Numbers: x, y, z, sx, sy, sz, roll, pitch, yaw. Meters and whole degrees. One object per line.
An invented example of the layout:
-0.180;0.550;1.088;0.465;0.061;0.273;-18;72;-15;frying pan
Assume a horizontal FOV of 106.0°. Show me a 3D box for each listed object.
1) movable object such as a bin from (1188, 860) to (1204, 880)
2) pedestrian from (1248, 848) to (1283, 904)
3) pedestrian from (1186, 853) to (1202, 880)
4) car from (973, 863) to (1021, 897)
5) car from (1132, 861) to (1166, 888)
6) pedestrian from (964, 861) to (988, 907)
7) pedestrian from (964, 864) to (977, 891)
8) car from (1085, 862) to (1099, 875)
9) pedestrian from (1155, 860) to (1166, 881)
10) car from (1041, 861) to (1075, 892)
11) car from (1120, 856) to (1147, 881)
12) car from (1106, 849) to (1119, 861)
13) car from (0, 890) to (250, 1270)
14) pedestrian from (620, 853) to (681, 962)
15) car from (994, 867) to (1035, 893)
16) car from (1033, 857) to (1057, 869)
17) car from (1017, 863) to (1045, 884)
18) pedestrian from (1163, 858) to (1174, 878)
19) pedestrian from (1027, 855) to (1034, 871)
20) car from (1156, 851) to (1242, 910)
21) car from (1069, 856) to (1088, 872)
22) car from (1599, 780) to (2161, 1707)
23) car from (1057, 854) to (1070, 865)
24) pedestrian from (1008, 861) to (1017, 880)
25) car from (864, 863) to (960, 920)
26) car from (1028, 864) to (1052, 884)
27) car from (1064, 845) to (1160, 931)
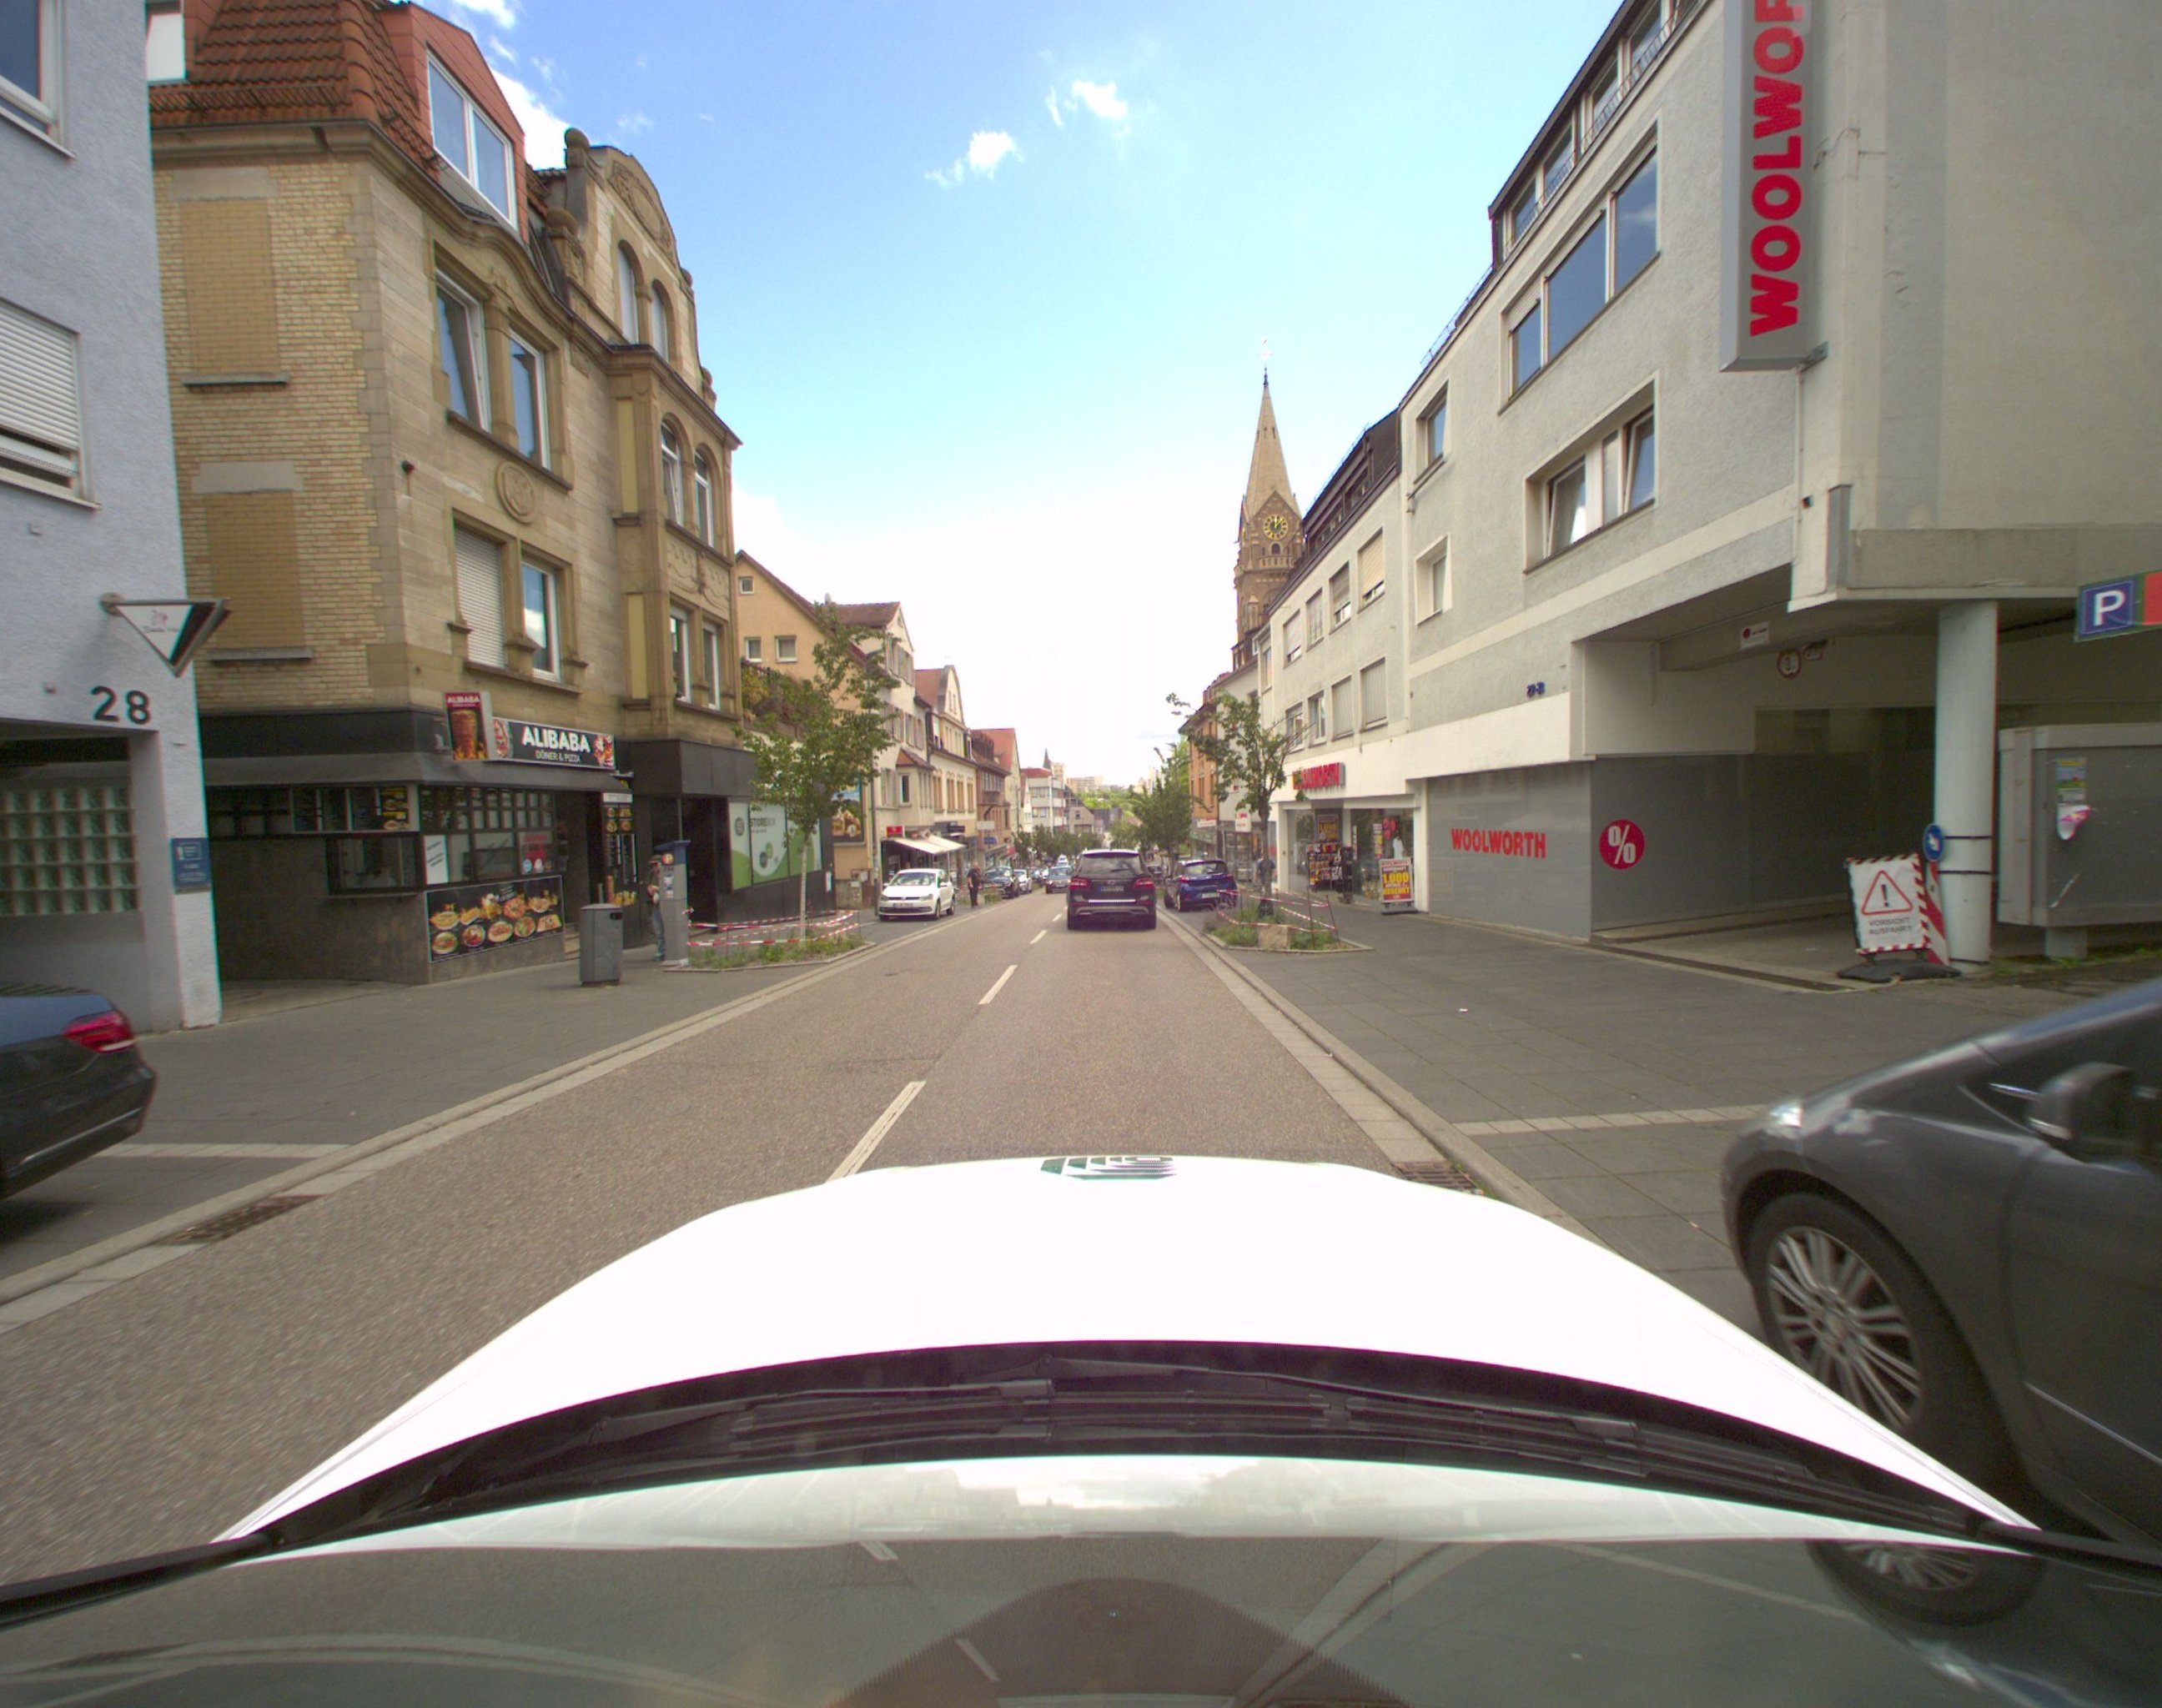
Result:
6.878;0.937;48.776;0.719;1.158;0.907;-4;-1;0;movable object such as a bin
5.392;0.629;23.833;0.754;1.561;0.817;-2;0;-1;pedestrian
6.863;0.761;49.544;0.733;1.585;1.000;-4;-1;0;pedestrian
-4.197;1.266;41.518;1.920;1.621;4.639;0;-1;0;car
4.255;1.238;51.209;1.742;1.465;4.075;-5;0;1;car
-3.884;1.109;30.209;0.735;1.672;0.862;-1;-1;-1;pedestrian
-6.565;1.393;48.496;0.545;1.576;0.863;-3;0;1;pedestrian
1.571;2.080;114.895;1.758;1.617;4.033;-4;0;1;car
6.437;1.345;66.119;0.670;1.632;0.669;-4;-1;-1;pedestrian
-1.309;1.326;48.330;1.813;1.618;4.134;-4;-1;0;car
4.405;1.158;68.866;1.931;1.891;4.707;-4;0;1;car
6.338;0.211;162.579;2.163;2.364;4.630;-2;0;5;car
-5.369;0.944;1.858;1.920;1.492;4.842;1;0;0;car
-6.957;0.851;13.185;0.584;1.713;0.710;0;0;1;pedestrian
-3.975;1.545;49.193;1.919;1.430;4.264;-1;0;2;car
-6.070;1.539;138.031;3.978;1.750;1.998;-4;-1;-3;car
-3.840;1.464;62.722;1.921;1.496;4.259;-2;0;-1;car
7.134;1.136;66.358;0.670;1.632;0.669;-4;-1;-1;pedestrian
-5.272;0.929;84.721;0.639;1.667;0.720;-1;-1;0;pedestrian
3.458;0.780;24.450;1.745;1.498;3.795;-4;-1;-3;car
-0.244;1.133;92.894;1.985;1.718;4.447;-2;0;0;car
2.599;0.637;0.887;1.741;1.607;3.803;-3;0;3;car
-2.774;0.877;130.634;1.920;1.628;4.413;1;0;0;car
-5.921;1.430;70.450;0.725;1.667;0.720;-1;-1;0;pedestrian
-4.909;1.045;24.303;1.920;1.511;4.262;0;0;0;car
-3.527;1.678;70.217;1.921;1.595;4.455;1;0;-2;car
0.710;0.673;18.772;1.936;1.740;4.181;-1;0;2;car
